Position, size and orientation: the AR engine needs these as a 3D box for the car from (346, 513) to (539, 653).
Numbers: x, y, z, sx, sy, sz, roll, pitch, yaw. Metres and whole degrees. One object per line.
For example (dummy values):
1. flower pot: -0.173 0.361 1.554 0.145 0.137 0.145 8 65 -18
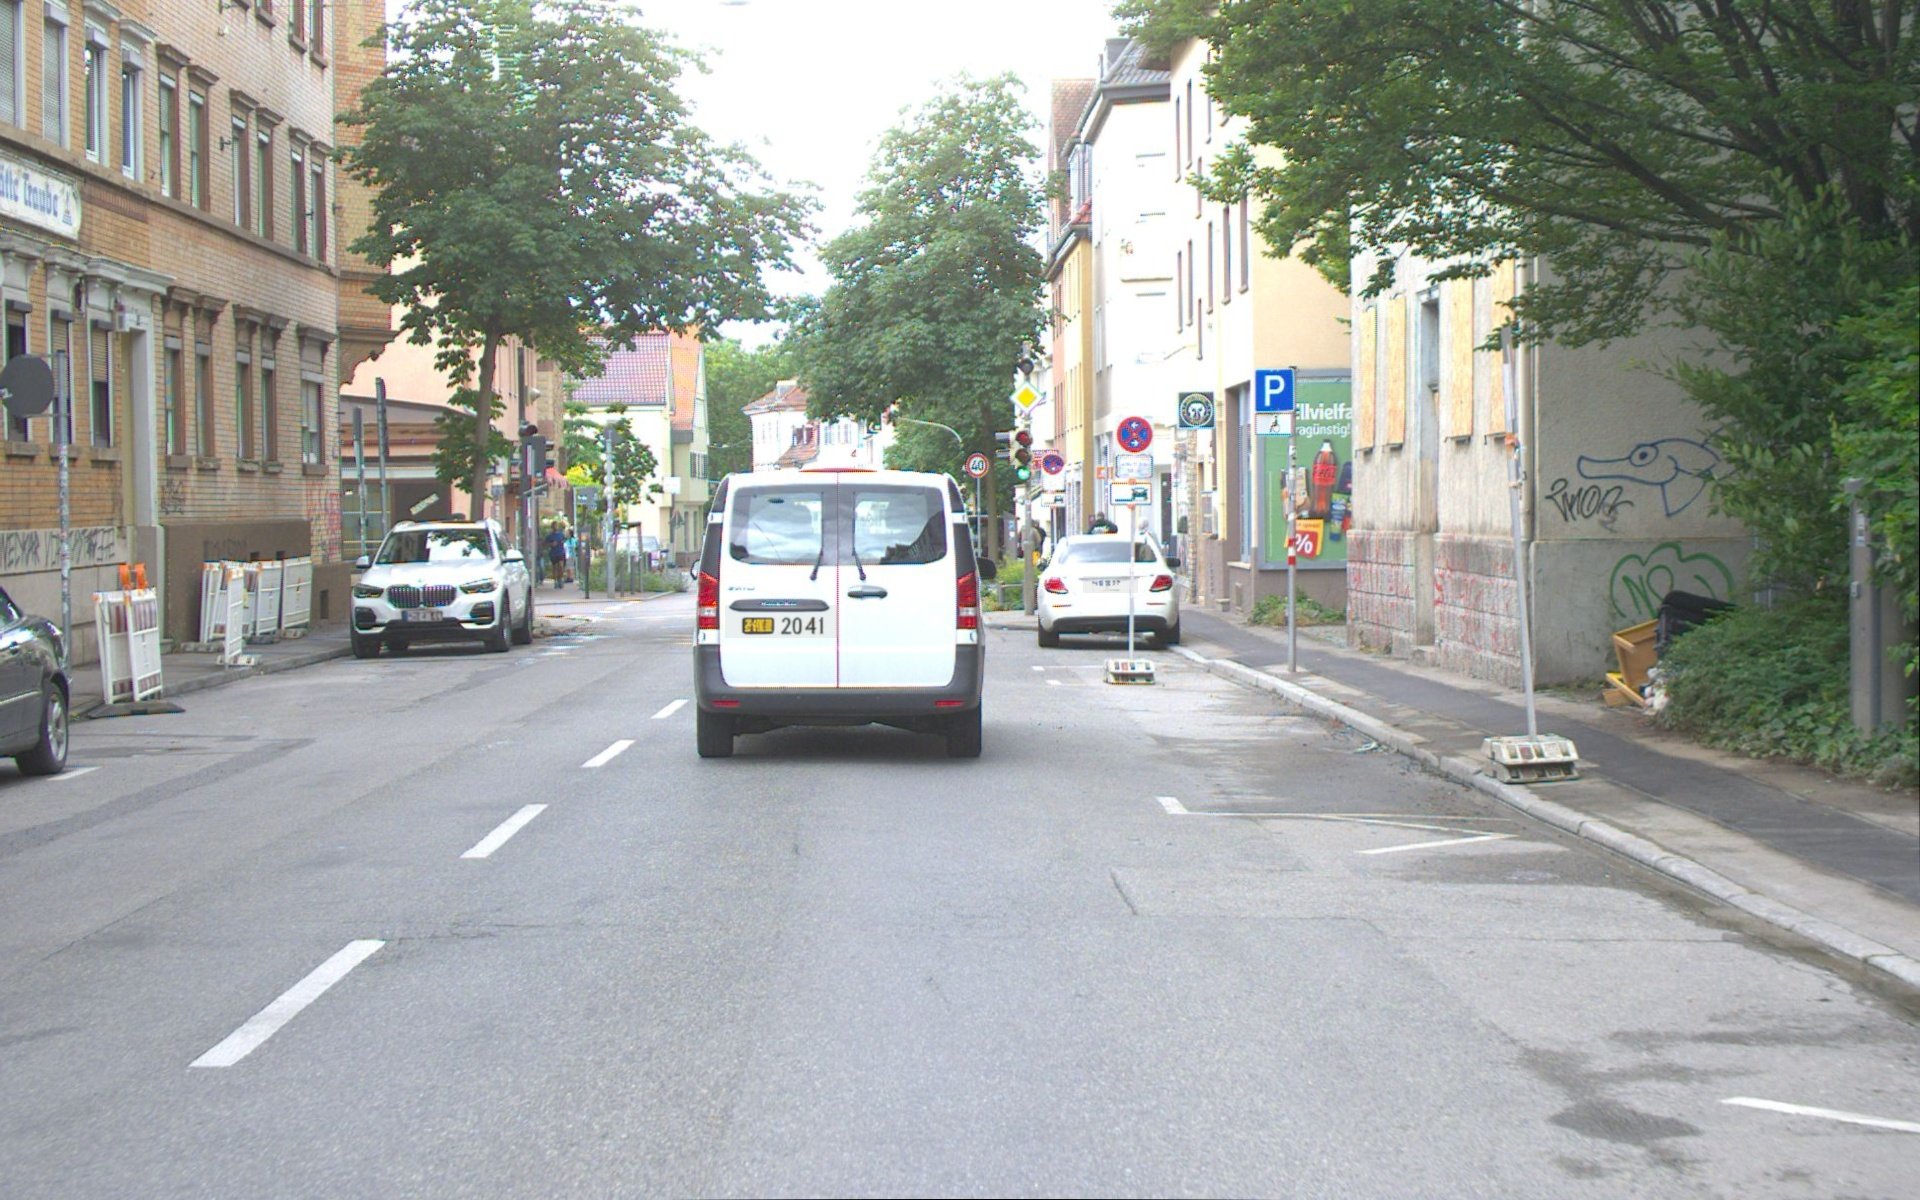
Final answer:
1. car: -6.868 -0.267 46.082 1.891 1.706 4.741 -2 1 -1

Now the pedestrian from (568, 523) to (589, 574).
1. pedestrian: -11.700 -1.568 105.379 0.571 1.549 0.697 1 1 -2

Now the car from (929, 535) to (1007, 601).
1. car: 0.188 -0.882 94.982 1.819 1.775 4.404 0 1 -4

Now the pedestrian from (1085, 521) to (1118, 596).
1. pedestrian: 3.130 -0.920 75.987 0.614 1.647 0.983 1 1 -3

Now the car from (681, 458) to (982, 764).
1. car: -0.867 0.028 23.551 1.872 1.905 4.000 0 1 -2

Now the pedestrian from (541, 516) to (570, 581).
1. pedestrian: -10.762 -1.384 91.456 0.738 1.712 1.157 0 1 -5

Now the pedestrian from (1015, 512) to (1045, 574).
1. pedestrian: 1.878 -1.528 92.642 0.701 1.643 0.889 -2 1 -3

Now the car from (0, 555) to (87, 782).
1. car: -6.711 0.460 21.104 1.578 1.378 4.355 -2 1 0

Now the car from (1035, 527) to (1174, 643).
1. car: 1.908 -0.239 46.203 1.767 1.461 4.783 0 1 2

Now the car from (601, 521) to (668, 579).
1. car: -9.470 -1.466 100.138 1.702 1.568 4.451 -3 2 -3
